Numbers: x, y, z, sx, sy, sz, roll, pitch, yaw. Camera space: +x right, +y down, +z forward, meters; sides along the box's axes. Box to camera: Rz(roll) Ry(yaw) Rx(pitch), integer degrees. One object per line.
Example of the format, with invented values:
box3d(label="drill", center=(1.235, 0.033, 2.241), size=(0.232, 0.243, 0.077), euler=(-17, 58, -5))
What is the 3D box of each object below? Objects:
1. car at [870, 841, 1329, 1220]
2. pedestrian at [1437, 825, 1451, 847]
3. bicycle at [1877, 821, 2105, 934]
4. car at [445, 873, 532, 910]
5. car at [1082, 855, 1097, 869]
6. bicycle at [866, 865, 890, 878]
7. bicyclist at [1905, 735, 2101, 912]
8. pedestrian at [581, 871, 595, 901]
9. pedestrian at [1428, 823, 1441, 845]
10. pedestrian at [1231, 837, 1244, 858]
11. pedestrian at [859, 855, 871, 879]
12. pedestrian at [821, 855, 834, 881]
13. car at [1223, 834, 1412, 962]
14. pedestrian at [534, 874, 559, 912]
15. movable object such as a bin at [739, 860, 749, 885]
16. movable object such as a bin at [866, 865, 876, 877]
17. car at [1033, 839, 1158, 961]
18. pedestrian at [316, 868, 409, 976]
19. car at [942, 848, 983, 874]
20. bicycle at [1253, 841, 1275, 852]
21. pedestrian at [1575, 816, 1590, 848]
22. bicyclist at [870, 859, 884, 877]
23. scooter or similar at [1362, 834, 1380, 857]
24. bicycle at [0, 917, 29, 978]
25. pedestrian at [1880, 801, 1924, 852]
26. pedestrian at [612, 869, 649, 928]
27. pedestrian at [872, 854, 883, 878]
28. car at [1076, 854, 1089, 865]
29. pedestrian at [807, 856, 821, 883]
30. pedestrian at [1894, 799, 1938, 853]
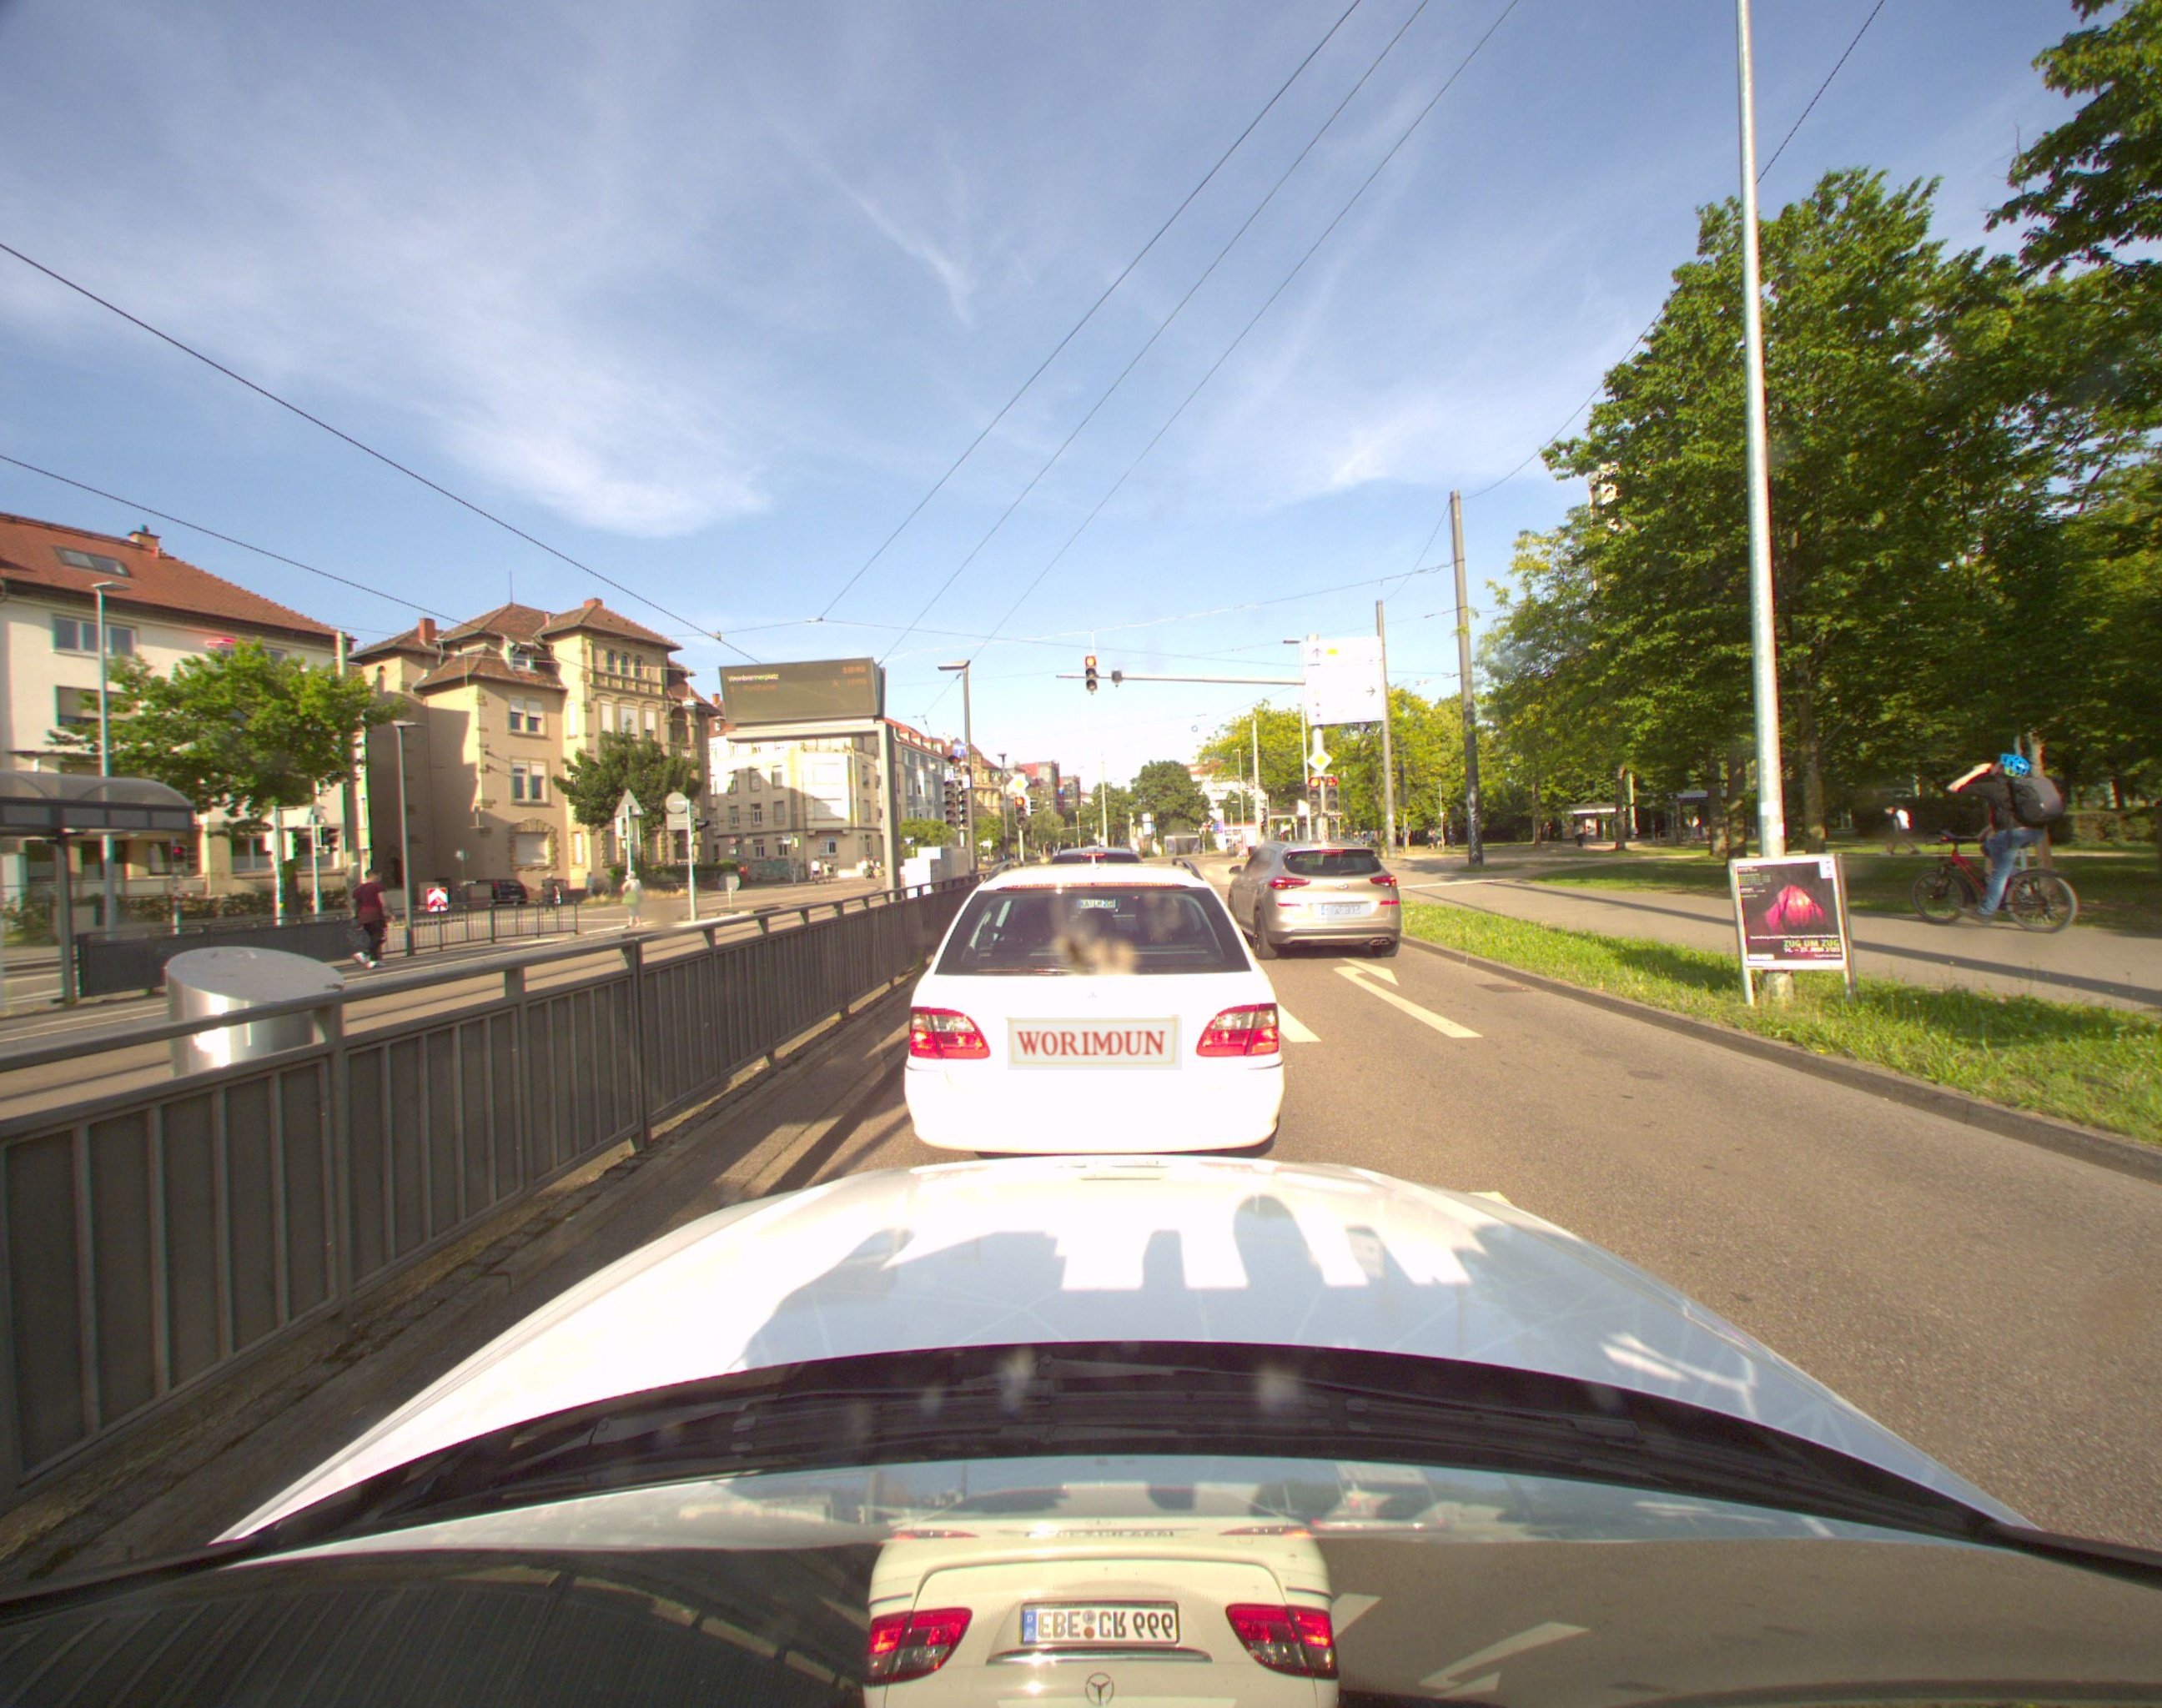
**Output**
box3d(label="car", center=(0.130, 0.709, 5.204), size=(1.828, 1.501, 3.817), euler=(-1, 0, 2))
box3d(label="pedestrian", center=(27.668, -1.355, 62.080), size=(0.638, 1.665, 0.691), euler=(-3, 0, 1))
box3d(label="bicycle", center=(10.059, 0.233, 9.110), size=(0.637, 1.088, 1.736), euler=(-5, 0, 6))
box3d(label="car", center=(-29.470, 1.881, 40.502), size=(3.950, 1.632, 1.787), euler=(-3, 1, 26))
box3d(label="car", center=(1.484, 1.424, 141.109), size=(2.168, 2.239, 5.257), euler=(-3, 0, 3))
box3d(label="bicycle", center=(-17.812, 1.497, 71.435), size=(1.990, 1.006, 0.740), euler=(-3, 0, -10))
box3d(label="bicyclist", center=(10.008, -0.310, 8.904), size=(0.716, 1.745, 1.142), euler=(-6, 0, 5))
box3d(label="pedestrian", center=(-25.516, 1.632, 42.123), size=(0.400, 1.515, 0.392), euler=(-3, 0, 28))
box3d(label="pedestrian", center=(27.443, -1.539, 63.260), size=(0.638, 1.665, 0.691), euler=(-3, 0, 1))
box3d(label="pedestrian", center=(15.799, -0.646, 82.004), size=(0.986, 2.013, 0.833), euler=(-3, 0, 29))
box3d(label="pedestrian", center=(-17.153, 1.005, 64.687), size=(0.582, 1.881, 0.627), euler=(-3, 0, 4))
box3d(label="pedestrian", center=(-18.625, 1.030, 59.821), size=(0.672, 1.848, 0.649), euler=(-3, 0, -1))
box3d(label="car", center=(3.343, 0.554, 12.298), size=(1.828, 1.600, 3.817), euler=(-1, 0, 2))
box3d(label="pedestrian", center=(-23.682, 1.722, 36.088), size=(0.672, 1.651, 0.608), euler=(-3, 0, 28))
box3d(label="movable object such as a bin", center=(-23.438, 1.288, 56.651), size=(0.265, 1.709, 2.360), euler=(-3, 0, -29))
box3d(label="movable object such as a bin", center=(-16.875, 1.358, 65.572), size=(0.581, 0.947, 0.663), euler=(-3, 0, 0))
box3d(label="car", center=(0.250, 0.605, 12.790), size=(1.635, 1.600, 3.817), euler=(-1, 0, 2))
box3d(label="pedestrian", center=(-11.792, 1.085, 13.396), size=(0.668, 1.670, 0.883), euler=(-3, 0, -1))
box3d(label="car", center=(-9.934, 0.563, 68.830), size=(2.135, 2.013, 5.396), euler=(-3, 0, 6))
box3d(label="bicycle", center=(18.575, -0.761, 82.668), size=(2.000, 0.947, 0.884), euler=(-3, 0, 21))
box3d(label="pedestrian", center=(30.362, -1.325, 49.340), size=(0.463, 1.868, 0.600), euler=(0, -1, -29))
box3d(label="bicyclist", center=(-17.876, 1.210, 71.425), size=(1.039, 1.569, 0.659), euler=(-3, 0, -9))
box3d(label="scooter or similar", center=(16.116, -0.450, 45.229), size=(0.351, 1.232, 1.131), euler=(-3, 0, -12))
box3d(label="bicycle", center=(-20.662, 1.786, 14.759), size=(0.722, 1.110, 1.866), euler=(0, 0, 3))
box3d(label="pedestrian", center=(29.127, -0.953, 28.909), size=(0.668, 1.777, 0.881), euler=(-1, 0, 3))
box3d(label="pedestrian", center=(-12.562, 1.234, 22.723), size=(0.588, 1.589, 0.715), euler=(-3, 0, -2))
box3d(label="pedestrian", center=(-16.190, 0.962, 64.753), size=(0.582, 1.880, 0.627), euler=(-3, 3, -1))
box3d(label="car", center=(0.232, 0.857, 126.686), size=(1.670, 1.525, 4.128), euler=(-3, 1, 3))
box3d(label="pedestrian", center=(-19.582, 1.145, 59.818), size=(0.653, 1.881, 0.629), euler=(-3, 0, 16))
box3d(label="pedestrian", center=(29.863, -0.988, 29.148), size=(0.668, 1.897, 0.880), euler=(-1, 0, 3))
